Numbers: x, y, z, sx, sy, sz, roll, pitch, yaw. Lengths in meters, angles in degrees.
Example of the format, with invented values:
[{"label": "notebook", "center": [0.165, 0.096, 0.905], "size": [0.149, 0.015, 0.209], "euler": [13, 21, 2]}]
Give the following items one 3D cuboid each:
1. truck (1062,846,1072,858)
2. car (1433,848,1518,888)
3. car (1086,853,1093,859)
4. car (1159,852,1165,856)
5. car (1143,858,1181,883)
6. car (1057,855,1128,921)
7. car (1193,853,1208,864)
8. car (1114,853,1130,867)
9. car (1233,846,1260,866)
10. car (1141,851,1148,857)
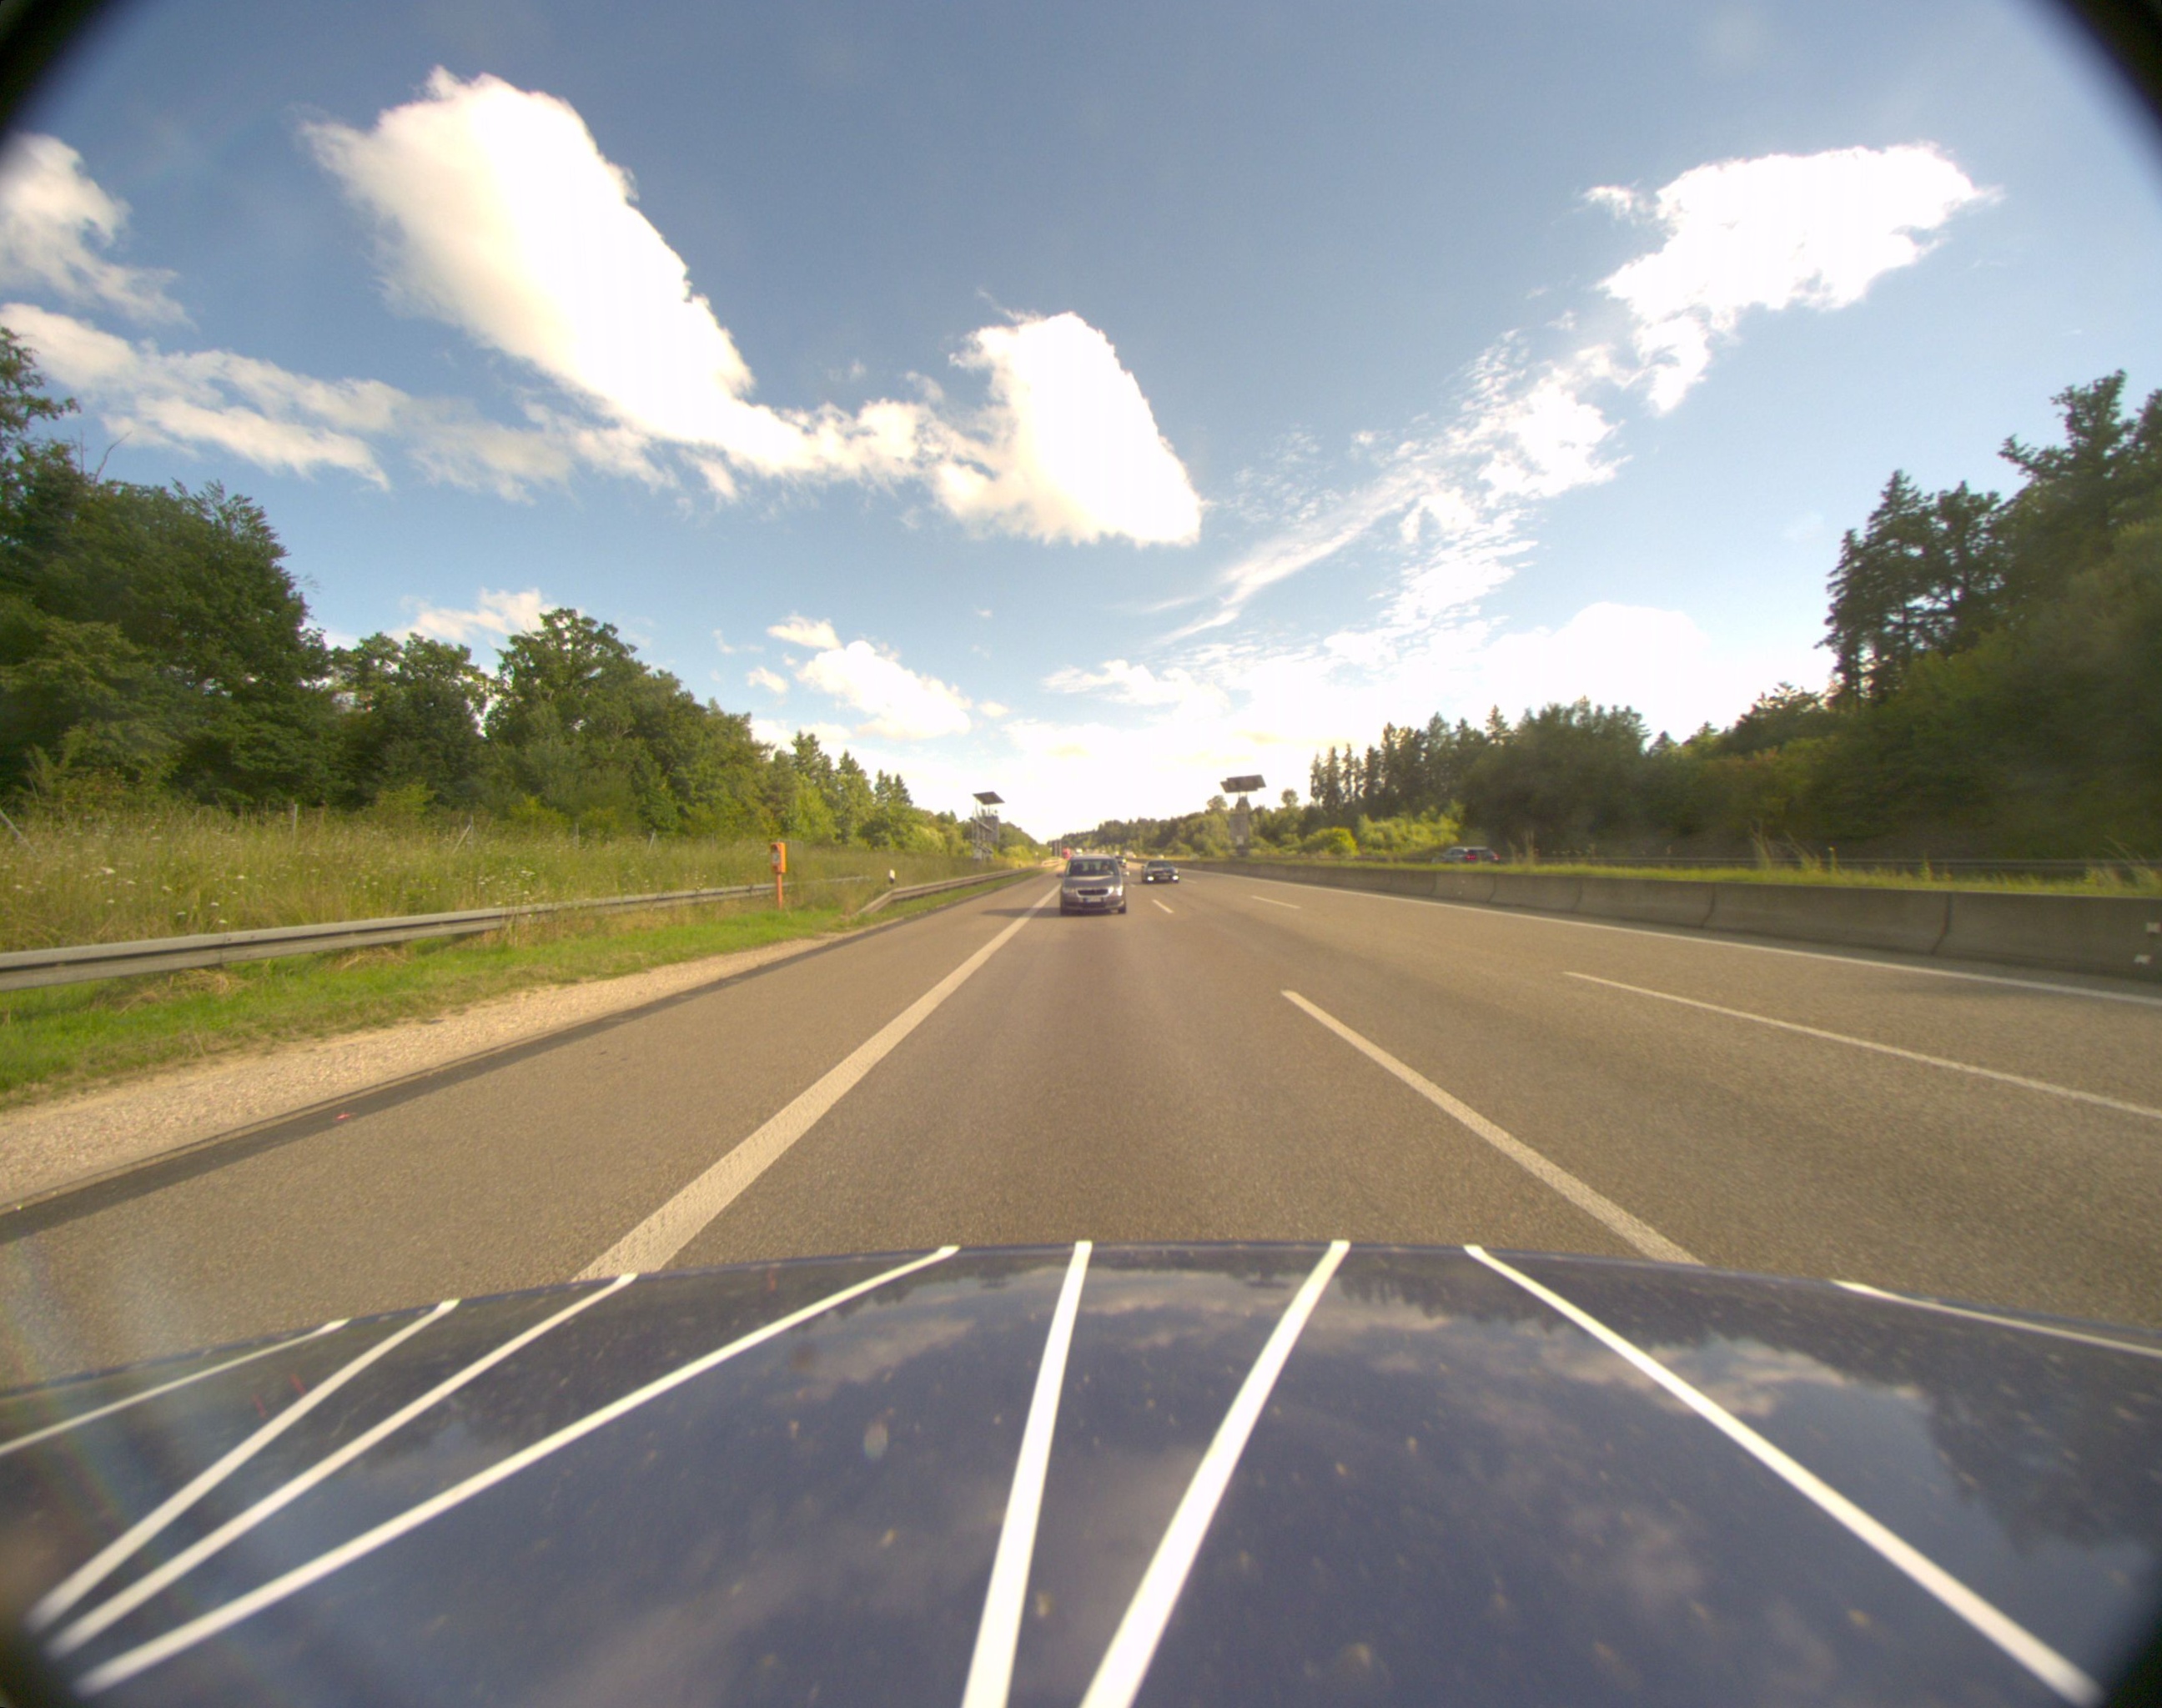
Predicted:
[{"label": "truck", "center": [-4.815, -0.642, 256.204], "size": [2.880, 3.871, 8.958], "euler": [-2, 0, 1]}, {"label": "car", "center": [19.948, 0.678, 38.614], "size": [1.998, 1.870, 4.437], "euler": [-2, 0, 0]}, {"label": "car", "center": [2.653, 0.550, 228.156], "size": [1.938, 1.772, 4.236], "euler": [-2, 0, 1]}, {"label": "car", "center": [24.781, -0.034, 233.003], "size": [1.595, 1.087, 3.173], "euler": [-2, 0, 1]}, {"label": "car", "center": [4.434, 0.879, 42.195], "size": [1.749, 1.276, 4.199], "euler": [-2, 0, 2]}, {"label": "car", "center": [0.339, 0.859, 21.193], "size": [1.742, 1.608, 4.083], "euler": [-2, 0, 2]}, {"label": "car", "center": [21.758, 0.788, 138.636], "size": [1.931, 1.894, 4.429], "euler": [-2, 0, 0]}, {"label": "car", "center": [5.200, 0.771, 97.260], "size": [1.961, 1.608, 4.388], "euler": [-2, 0, 2]}, {"label": "car", "center": [17.498, 0.235, 80.499], "size": [1.998, 2.002, 4.071], "euler": [-2, 0, 0]}, {"label": "car", "center": [21.222, -0.025, 252.487], "size": [1.929, 1.795, 4.493], "euler": [-2, 0, 1]}]
